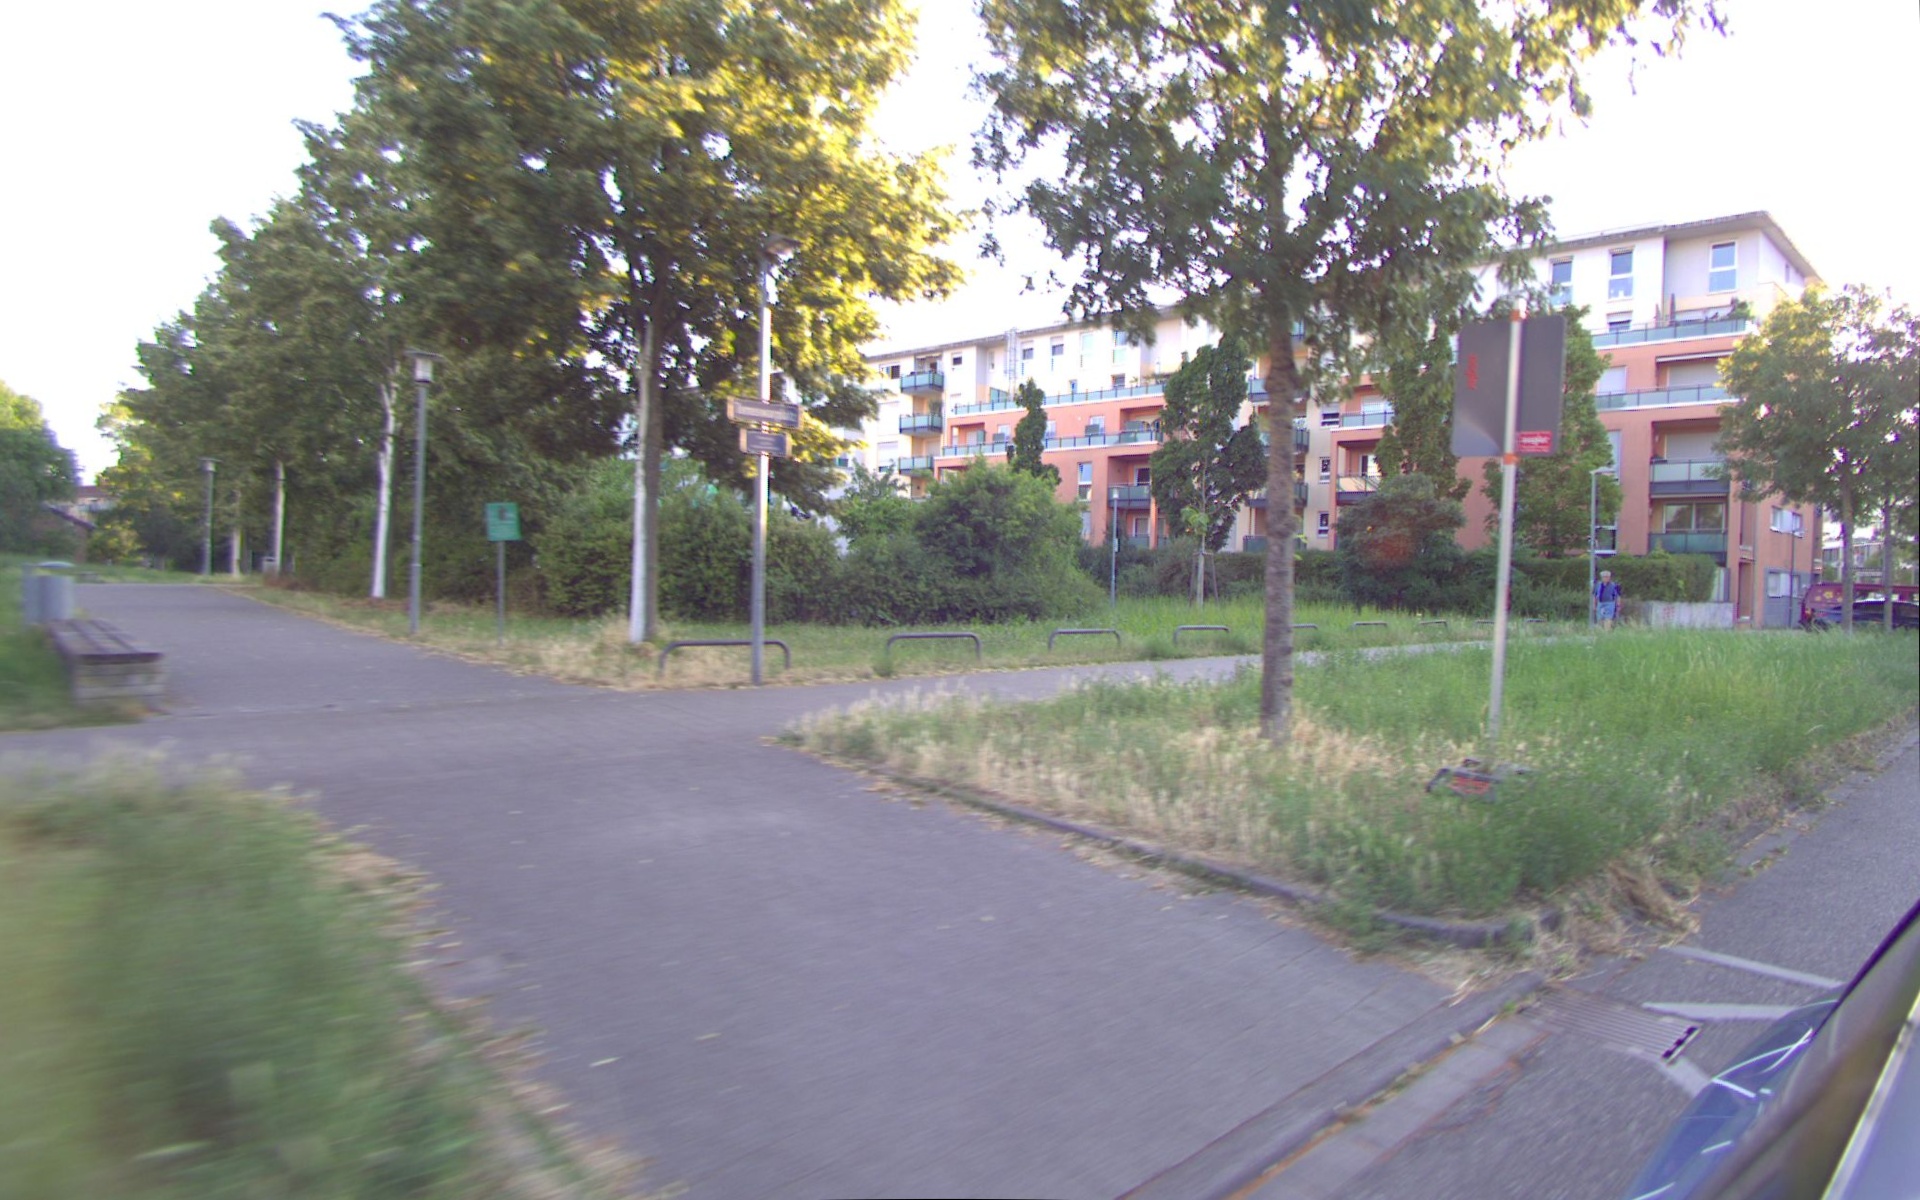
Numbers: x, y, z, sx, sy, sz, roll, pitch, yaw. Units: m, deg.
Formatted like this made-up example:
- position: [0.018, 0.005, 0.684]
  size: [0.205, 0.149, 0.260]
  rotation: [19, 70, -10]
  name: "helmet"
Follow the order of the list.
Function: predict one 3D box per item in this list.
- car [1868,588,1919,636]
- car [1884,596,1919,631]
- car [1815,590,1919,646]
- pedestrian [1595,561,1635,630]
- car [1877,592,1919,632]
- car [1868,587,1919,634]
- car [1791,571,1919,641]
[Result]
- position: [34.333, 0.503, 34.926]
  size: [1.761, 1.588, 4.226]
  rotation: [1, 3, -40]
  name: "car"
- position: [42.984, 0.621, 44.239]
  size: [1.587, 1.491, 3.751]
  rotation: [-1, 2, -45]
  name: "car"
- position: [28.486, 0.550, 29.914]
  size: [1.779, 1.576, 4.679]
  rotation: [1, 1, -40]
  name: "car"
- position: [17.210, -0.124, 26.590]
  size: [0.687, 1.765, 0.670]
  rotation: [1, 1, -41]
  name: "pedestrian"
- position: [41.203, 0.569, 42.270]
  size: [1.643, 1.588, 4.060]
  rotation: [1, 3, -40]
  name: "car"
- position: [32.477, 0.417, 33.393]
  size: [1.587, 1.483, 3.534]
  rotation: [1, 3, -40]
  name: "car"
- position: [30.097, 0.178, 32.522]
  size: [1.980, 2.143, 4.932]
  rotation: [1, 1, -39]
  name: "car"
